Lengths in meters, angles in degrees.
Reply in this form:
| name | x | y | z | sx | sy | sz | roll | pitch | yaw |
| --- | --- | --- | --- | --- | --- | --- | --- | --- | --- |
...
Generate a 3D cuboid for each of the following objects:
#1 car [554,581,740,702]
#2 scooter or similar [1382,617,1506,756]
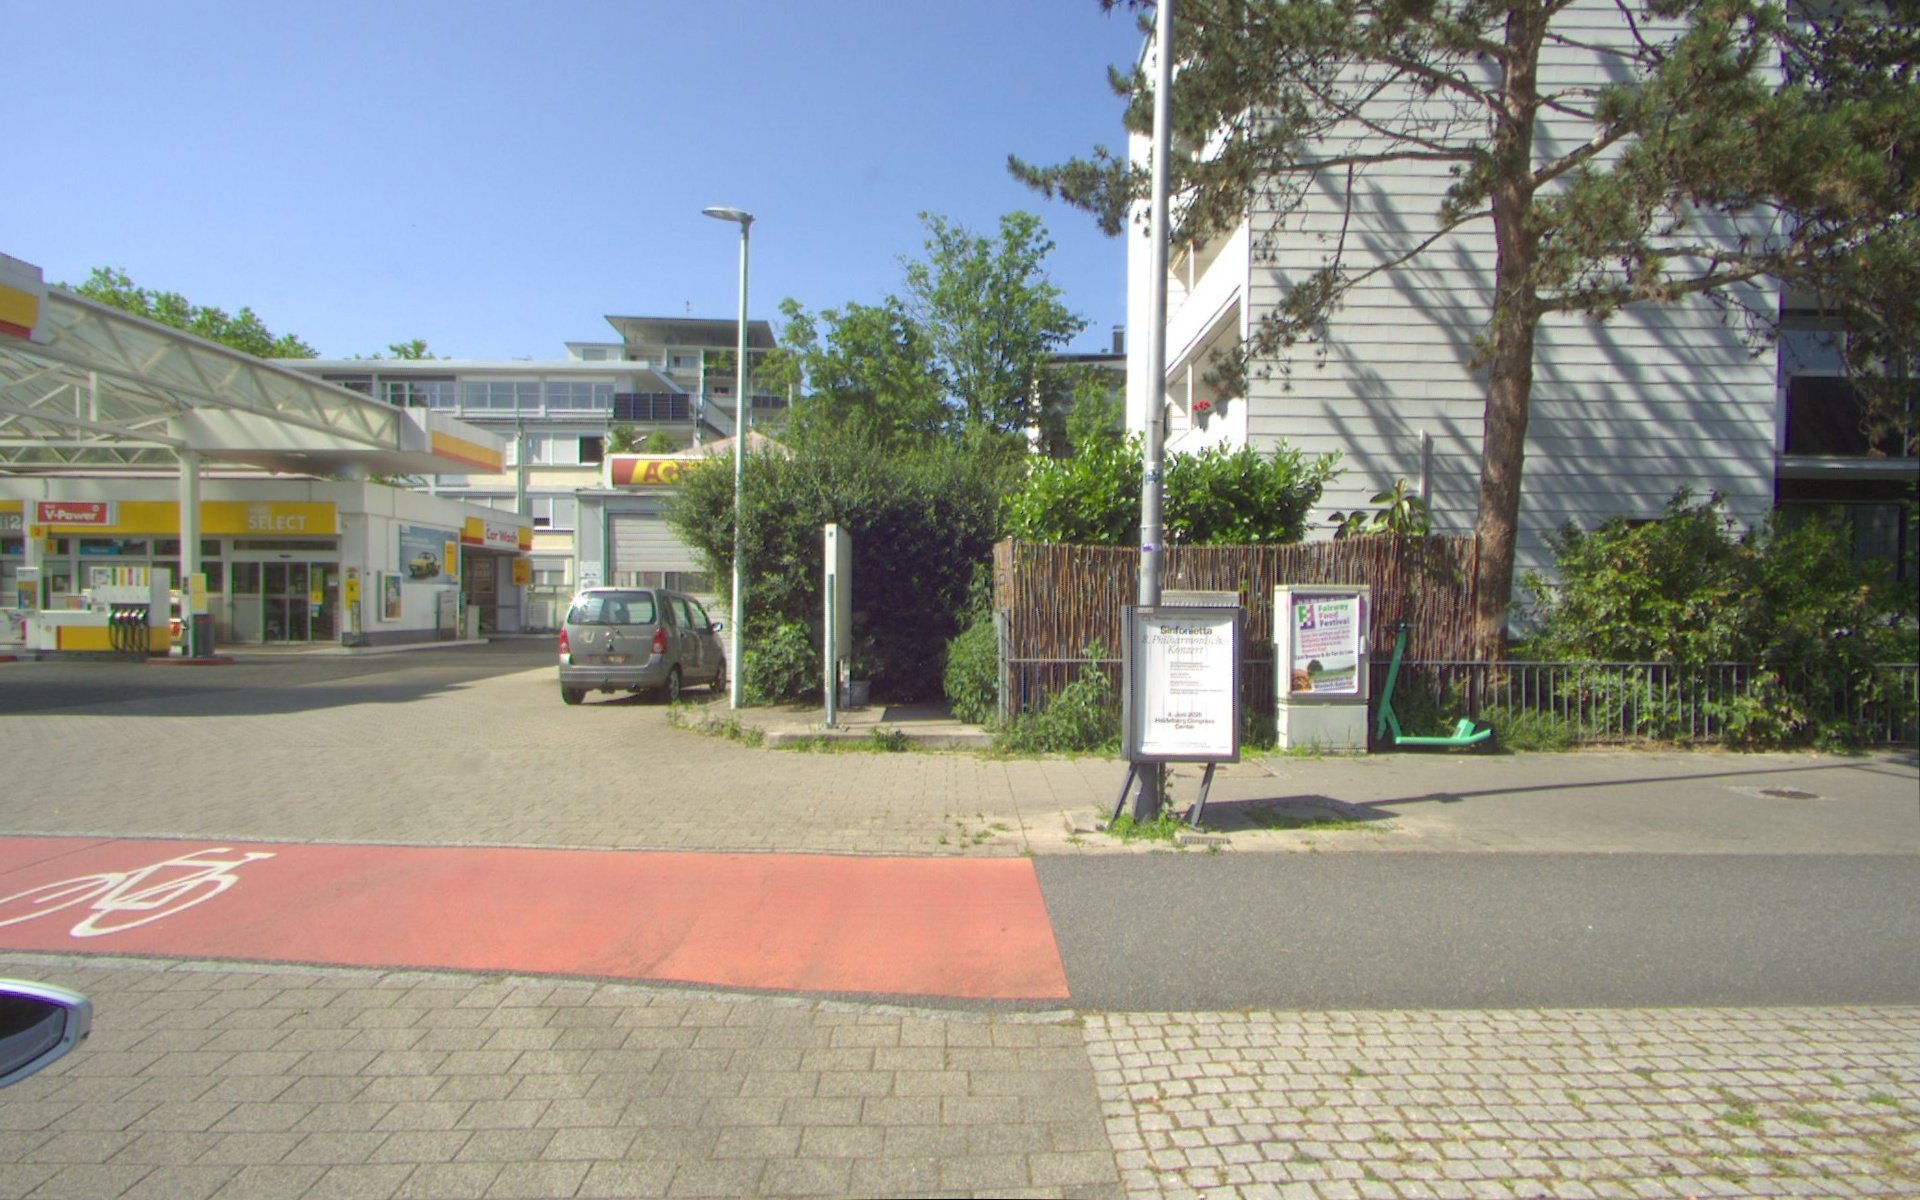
| name | x | y | z | sx | sy | sz | roll | pitch | yaw |
| --- | --- | --- | --- | --- | --- | --- | --- | --- | --- |
| car | -4.637 | 0.573 | 15.406 | 1.559 | 1.617 | 3.833 | 0 | 0 | 2 |
| scooter or similar | 4.233 | 0.749 | 8.776 | 0.939 | 1.181 | 0.231 | 1 | 0 | 7 |
